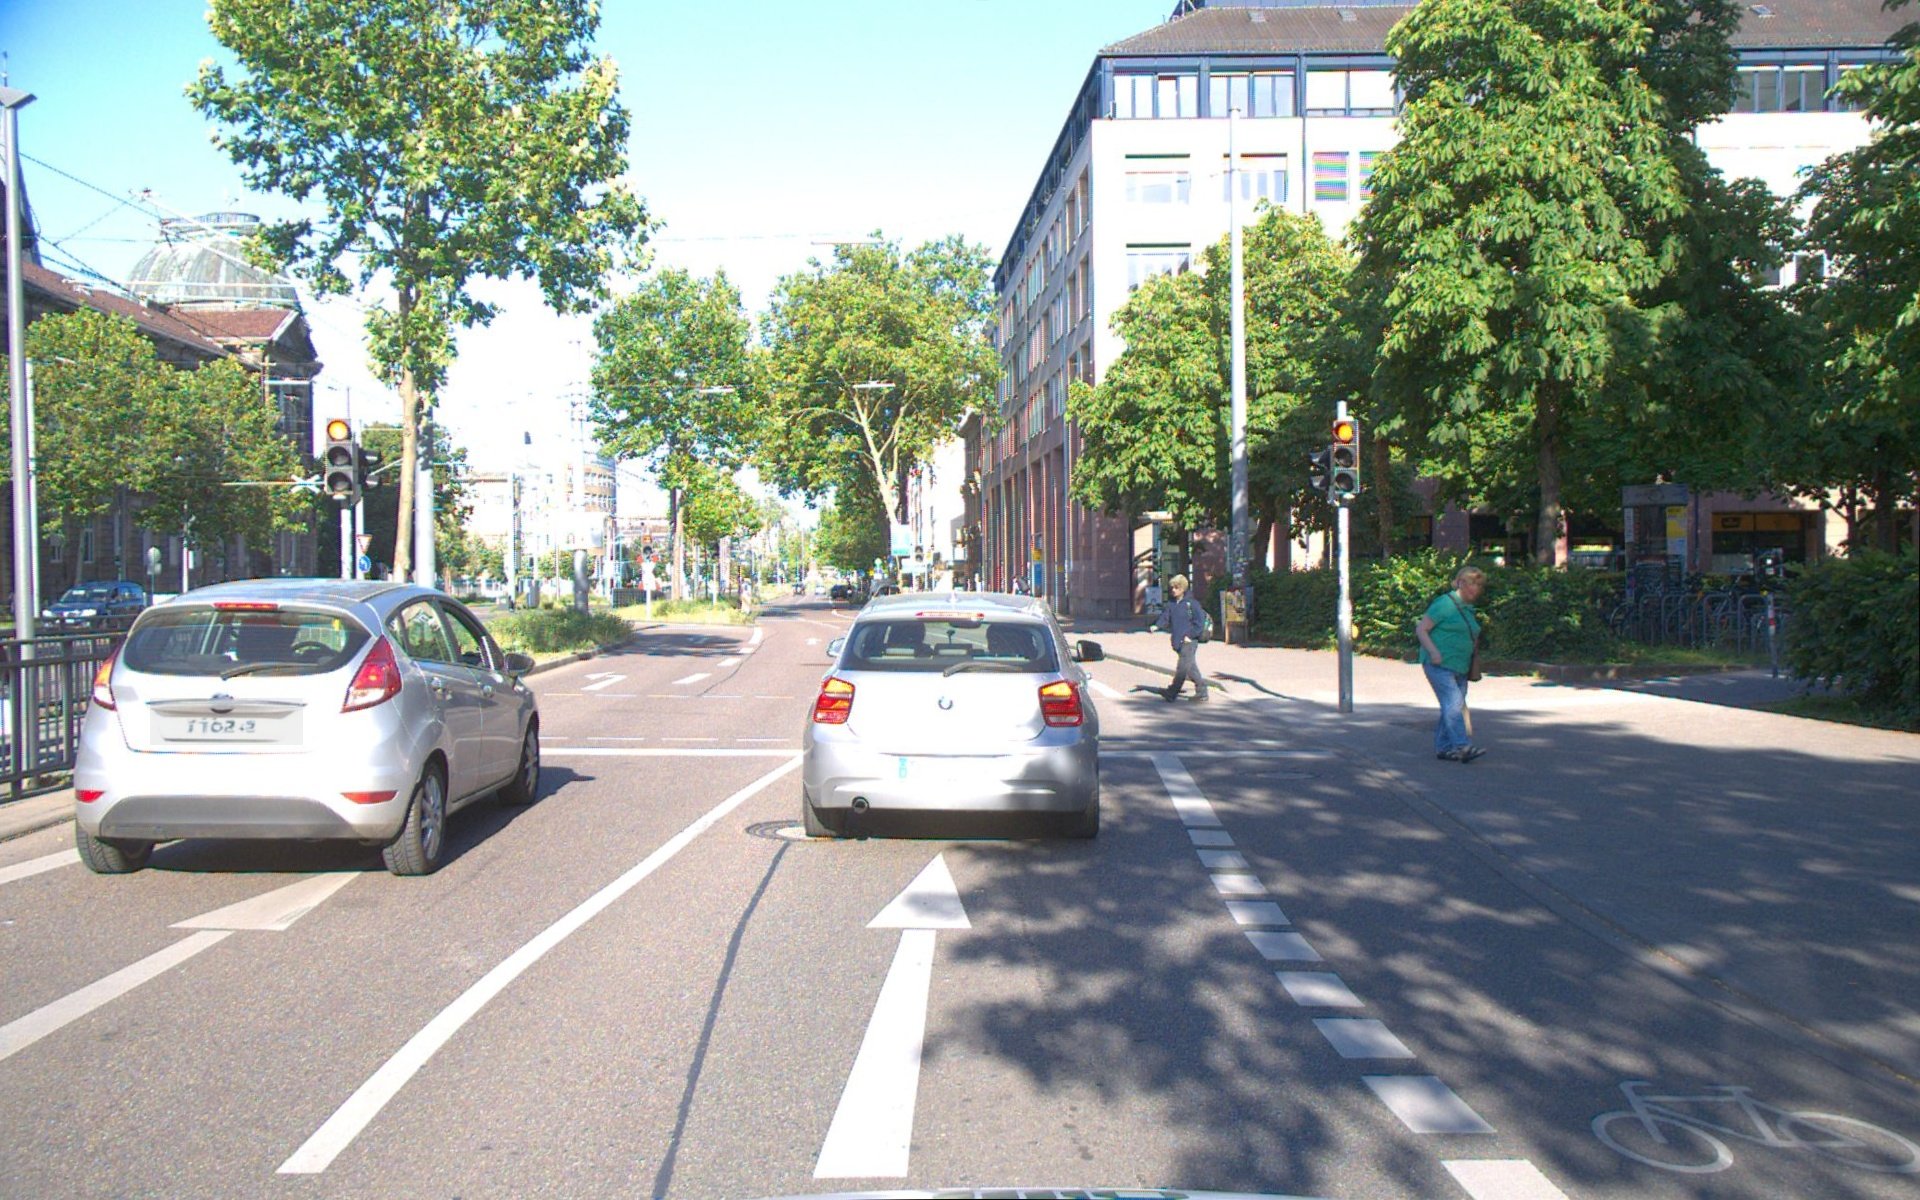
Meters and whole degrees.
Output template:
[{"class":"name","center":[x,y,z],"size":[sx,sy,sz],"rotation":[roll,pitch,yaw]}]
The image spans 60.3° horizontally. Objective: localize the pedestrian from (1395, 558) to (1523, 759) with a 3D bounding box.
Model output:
[{"class":"pedestrian","center":[4.154,0.471,13.756],"size":[0.815,1.603,0.737],"rotation":[-2,0,33]}]

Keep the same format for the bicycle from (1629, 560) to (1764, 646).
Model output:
[{"class":"bicycle","center":[12.245,0.040,27.516],"size":[1.956,1.337,0.574],"rotation":[-2,0,-1]}]

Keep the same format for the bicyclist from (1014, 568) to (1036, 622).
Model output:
[{"class":"bicyclist","center":[2.097,-0.166,53.467],"size":[0.644,1.686,0.765],"rotation":[-1,0,5]}]

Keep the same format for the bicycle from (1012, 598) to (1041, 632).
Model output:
[{"class":"bicycle","center":[2.154,0.479,53.555],"size":[0.814,1.059,1.875],"rotation":[-1,1,5]}]

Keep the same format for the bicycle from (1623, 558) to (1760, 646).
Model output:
[{"class":"bicycle","center":[11.883,0.026,26.891],"size":[1.956,1.337,0.574],"rotation":[-2,0,-1]}]

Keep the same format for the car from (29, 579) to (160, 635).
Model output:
[{"class":"car","center":[-26.765,0.173,51.318],"size":[1.953,1.653,4.000],"rotation":[-1,1,0]}]

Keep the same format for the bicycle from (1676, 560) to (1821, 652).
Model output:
[{"class":"bicycle","center":[12.261,0.095,25.747],"size":[1.956,1.337,0.574],"rotation":[-2,0,-1]}]

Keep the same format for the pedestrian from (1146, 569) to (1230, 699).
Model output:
[{"class":"pedestrian","center":[2.954,0.428,21.468],"size":[0.924,1.657,0.626],"rotation":[0,0,-13]}]

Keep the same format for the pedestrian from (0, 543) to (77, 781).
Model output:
[{"class":"pedestrian","center":[-6.525,0.412,11.337],"size":[0.619,1.584,0.646],"rotation":[-1,0,-8]}]

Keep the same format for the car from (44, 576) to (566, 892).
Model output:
[{"class":"car","center":[-3.421,0.610,9.374],"size":[1.627,1.434,3.630],"rotation":[0,0,-2]}]

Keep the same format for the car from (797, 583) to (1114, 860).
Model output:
[{"class":"car","center":[0.074,0.631,10.837],"size":[1.694,1.414,3.842],"rotation":[1,1,3]}]
